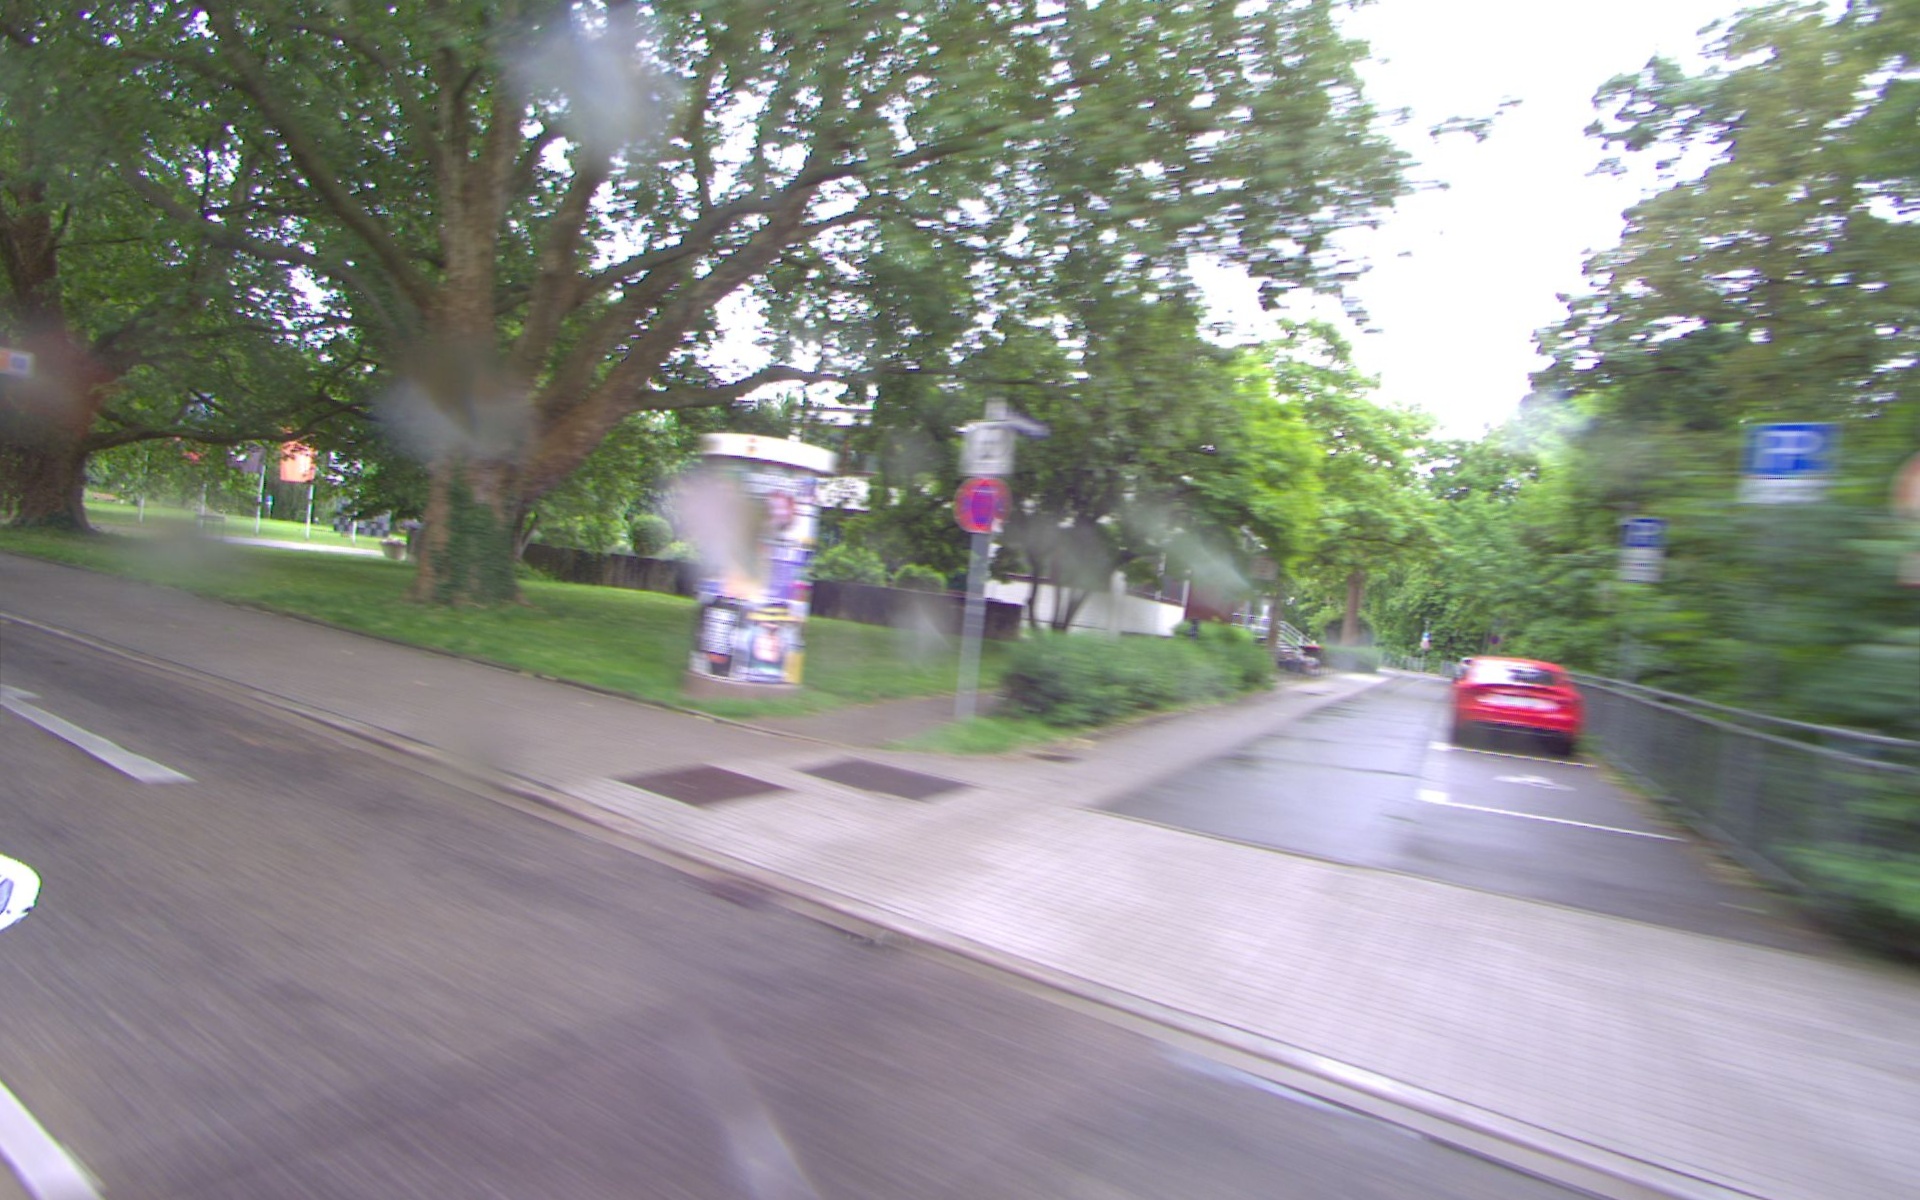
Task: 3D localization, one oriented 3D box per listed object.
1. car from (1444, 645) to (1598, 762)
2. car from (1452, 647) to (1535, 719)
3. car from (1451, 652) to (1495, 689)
[{"bbox_3d":[9.168,1.602,16.748,1.843,1.500,3.995,6,0,25],"label":"car"},{"bbox_3d":[14.496,2.202,27.509,1.705,1.591,3.928,7,1,26],"label":"car"},{"bbox_3d":[26.597,3.615,52.250,1.704,1.591,3.929,7,1,25],"label":"car"}]
